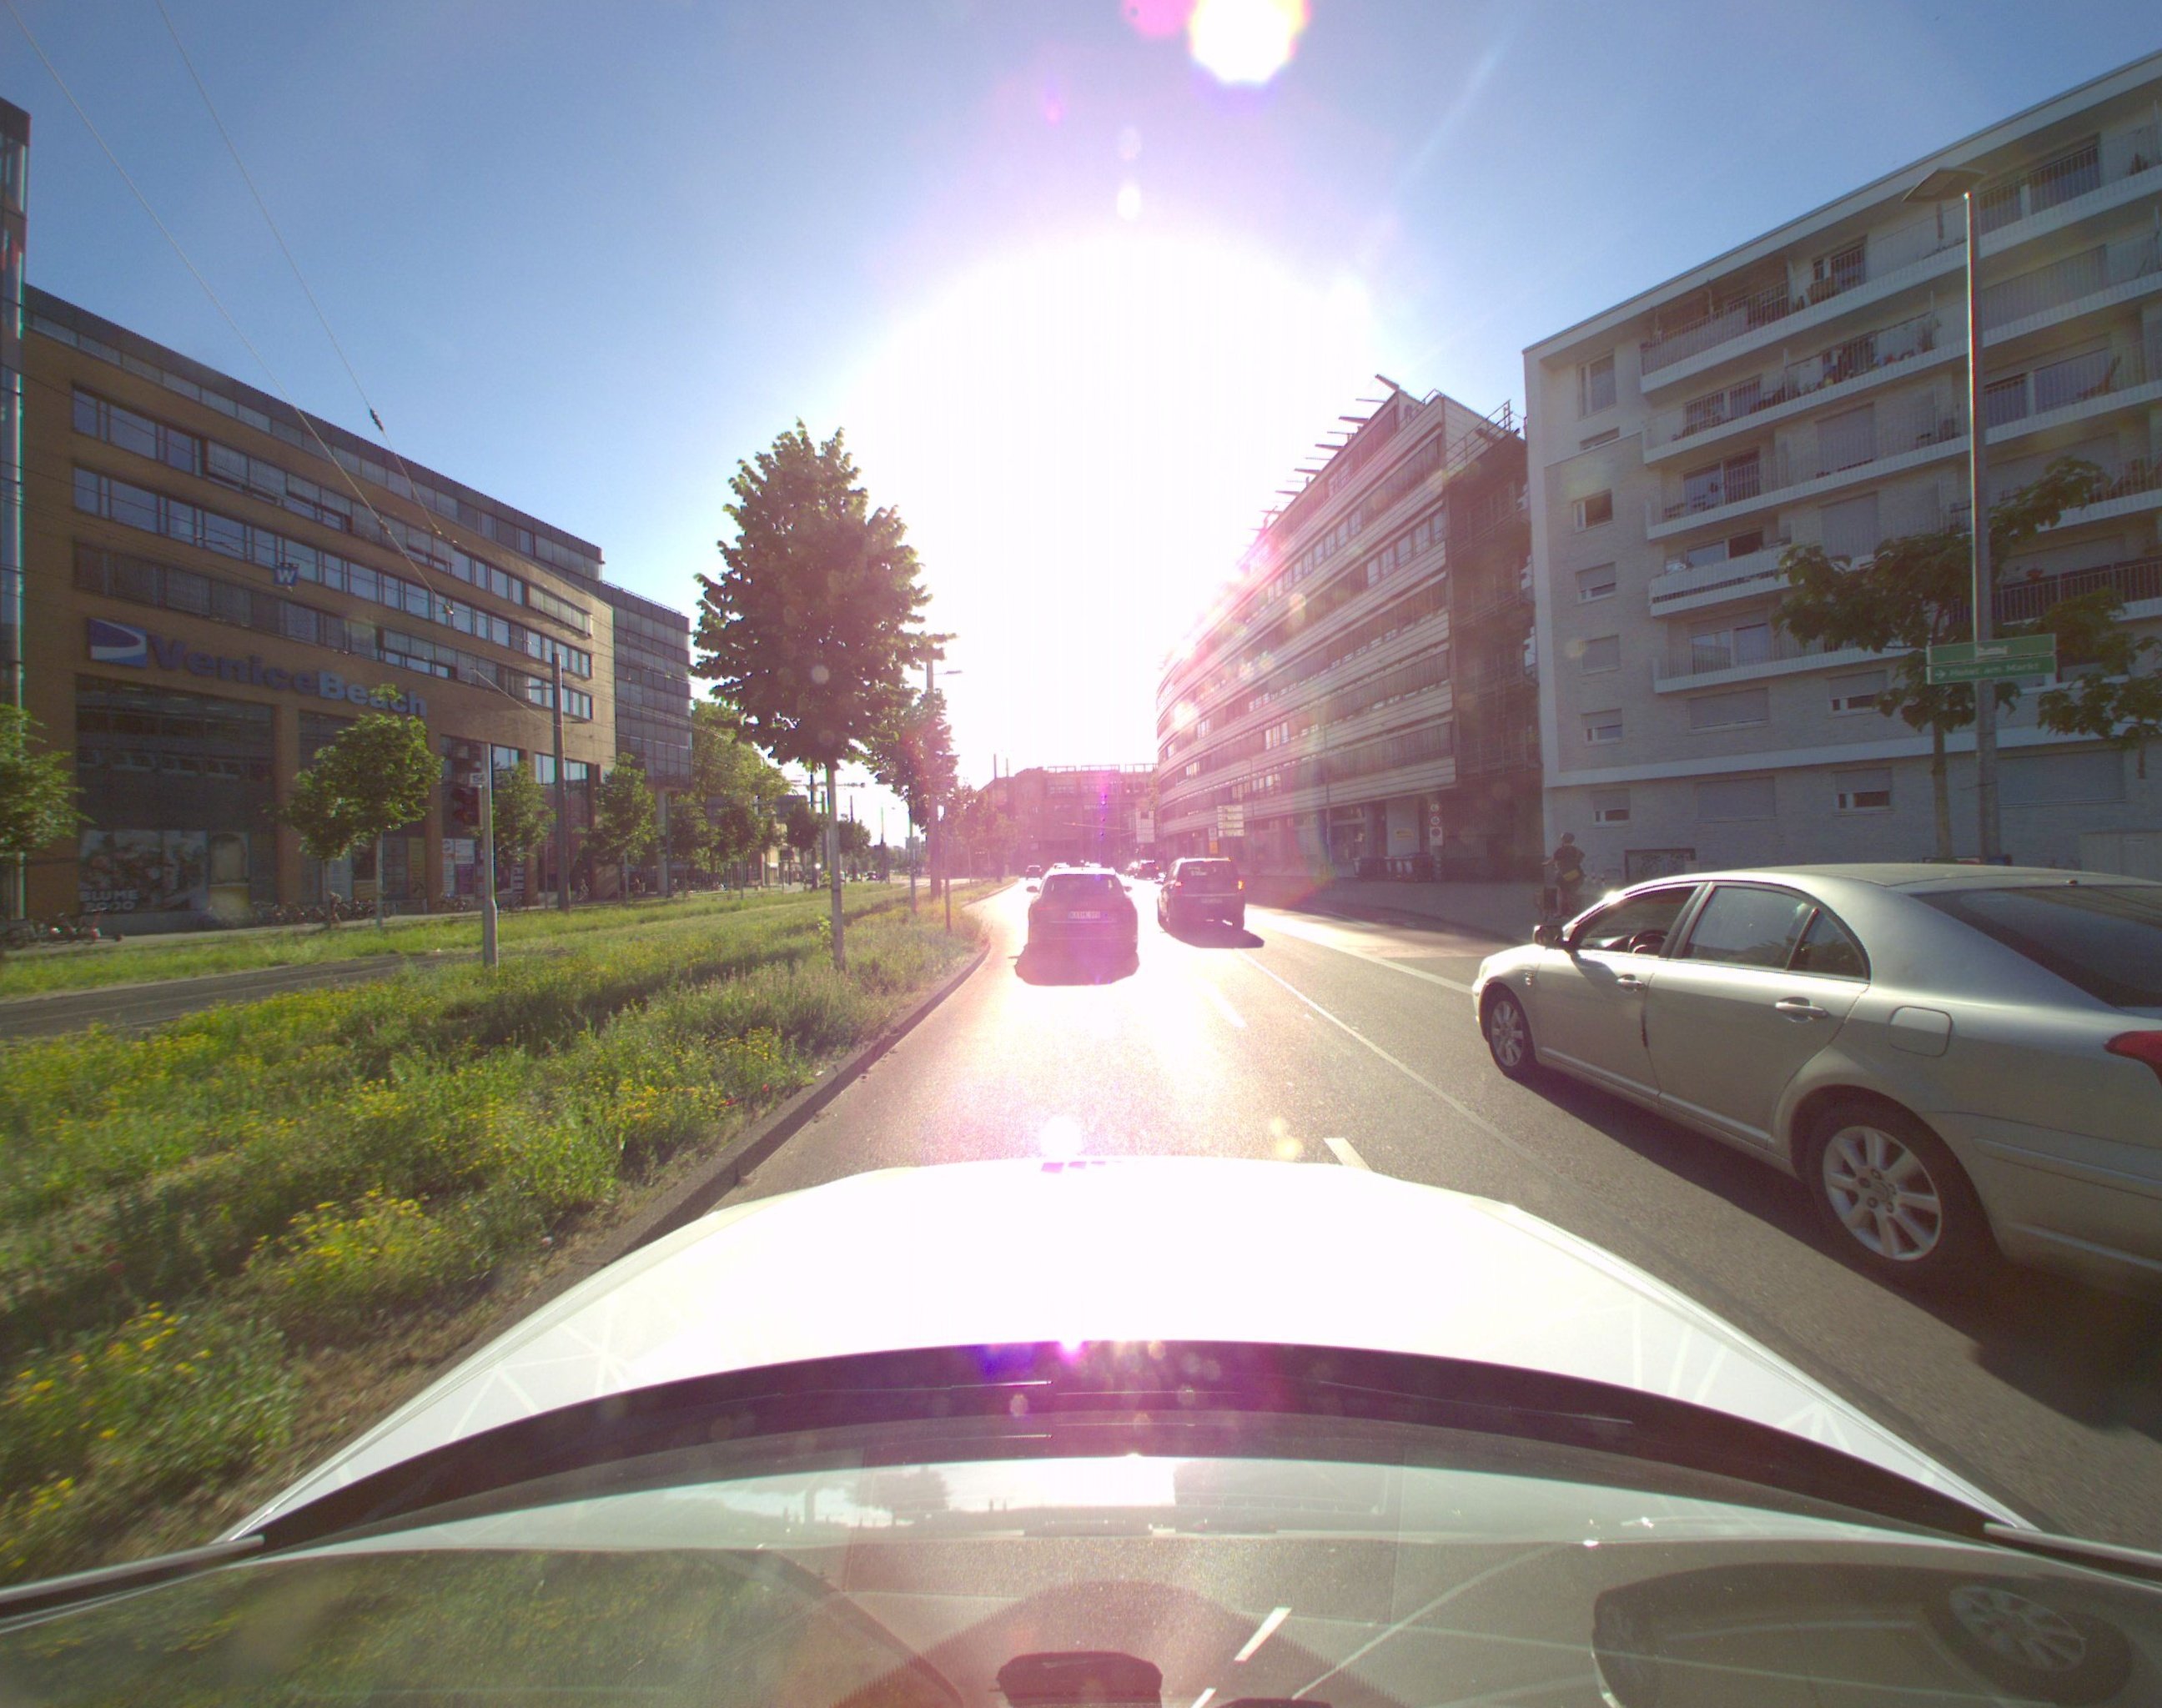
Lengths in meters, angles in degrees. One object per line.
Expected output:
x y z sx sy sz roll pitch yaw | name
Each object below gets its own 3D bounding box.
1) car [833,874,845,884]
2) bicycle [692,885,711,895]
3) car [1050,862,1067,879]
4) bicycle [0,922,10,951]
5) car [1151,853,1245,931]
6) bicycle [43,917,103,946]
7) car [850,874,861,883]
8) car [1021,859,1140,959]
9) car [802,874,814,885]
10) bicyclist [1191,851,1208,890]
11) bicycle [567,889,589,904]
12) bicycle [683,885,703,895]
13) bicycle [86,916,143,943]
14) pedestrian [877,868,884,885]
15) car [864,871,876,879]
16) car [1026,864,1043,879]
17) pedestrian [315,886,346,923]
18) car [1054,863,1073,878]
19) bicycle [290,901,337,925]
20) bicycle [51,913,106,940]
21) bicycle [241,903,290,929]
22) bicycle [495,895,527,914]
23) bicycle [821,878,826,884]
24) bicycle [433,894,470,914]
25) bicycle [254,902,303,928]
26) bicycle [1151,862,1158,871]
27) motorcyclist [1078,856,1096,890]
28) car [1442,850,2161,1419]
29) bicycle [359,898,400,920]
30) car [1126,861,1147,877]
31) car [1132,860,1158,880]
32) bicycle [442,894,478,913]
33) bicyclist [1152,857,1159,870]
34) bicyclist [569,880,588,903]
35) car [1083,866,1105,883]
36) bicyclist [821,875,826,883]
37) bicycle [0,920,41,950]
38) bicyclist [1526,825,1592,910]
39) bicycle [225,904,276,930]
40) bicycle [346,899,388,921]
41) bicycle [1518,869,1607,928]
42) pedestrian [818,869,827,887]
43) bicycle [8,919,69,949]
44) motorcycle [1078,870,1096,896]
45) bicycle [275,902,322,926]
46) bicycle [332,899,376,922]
-45.883 4.703 154.506 1.998 1.596 4.711 -3 0 -17 | car
-40.422 3.801 86.840 1.777 0.951 0.536 -2 -1 -30 | bicycle
-2.404 1.746 85.651 1.733 1.651 3.996 -2 -1 -2 | car
-35.790 2.699 26.407 1.754 0.926 0.566 -2 -1 12 | bicycle
2.741 0.853 19.956 1.682 1.629 4.463 -2 -1 1 | car
-35.375 2.729 28.579 1.754 0.926 0.566 -2 -1 12 | bicycle
-42.753 4.666 154.496 1.751 1.505 3.853 -2 -1 -21 | car
0.064 0.888 14.888 1.804 1.492 4.497 -2 -1 2 | car
-50.477 4.729 150.714 1.998 2.014 3.977 -2 -1 -17 | car
5.595 0.776 38.370 0.576 1.791 0.862 -2 -1 -3 | bicyclist
-33.915 2.855 54.938 0.497 0.910 1.884 -2 0 -6 | bicycle
-40.680 3.725 85.395 1.771 0.951 0.538 -2 -1 -19 | bicycle
-35.185 2.744 29.655 1.754 0.926 0.566 -2 -1 12 | bicycle
-22.477 2.496 91.220 0.631 1.830 0.660 -2 -1 -10 | pedestrian
-39.836 3.964 153.900 1.751 1.505 3.853 -2 -1 -21 | car
-4.810 1.839 84.646 1.645 1.433 3.996 -2 -1 -2 | car
-35.007 2.354 37.989 0.742 1.669 0.676 -2 -1 2 | pedestrian
-1.707 1.540 78.551 1.733 1.349 3.996 -2 -1 -2 | car
-36.316 2.786 38.541 1.758 1.049 0.491 -2 -1 3 | bicycle
-38.230 2.756 31.053 1.754 0.926 0.566 -2 -1 12 | bicycle
-36.358 2.750 36.310 1.758 1.049 0.491 -2 -1 3 | bicycle
-29.653 2.625 42.393 0.462 0.868 1.769 -2 -1 -3 | bicycle
-46.600 4.879 147.278 0.651 1.085 2.911 -2 -1 -15 | bicycle
-36.013 2.850 46.623 1.758 1.049 0.491 -2 -1 3 | bicycle
-36.341 2.759 36.878 1.758 1.049 0.491 -2 -1 3 | bicycle
9.305 1.549 103.108 0.500 1.058 1.709 -5 -1 17 | bicycle
0.260 0.853 37.479 0.742 1.530 1.020 -2 -1 -1 | motorcyclist
3.700 0.739 4.210 1.744 1.431 4.490 -2 -1 2 | car
-36.168 2.841 41.990 1.758 1.049 0.491 -2 -1 3 | bicycle
5.883 1.579 86.422 1.987 1.651 4.000 -2 -1 1 | car
6.041 1.483 77.390 1.988 1.750 4.326 -2 -1 -1 | car
-36.029 2.860 47.255 1.758 1.049 0.491 -2 -1 3 | bicycle
9.514 1.210 103.442 0.679 1.618 0.995 -2 -1 15 | bicyclist
-33.933 2.535 54.989 0.677 1.465 1.014 -1 -1 -6 | bicyclist
1.199 1.879 75.296 1.803 1.457 3.996 -1 -1 -3 | car
-46.522 4.566 147.015 0.759 1.375 0.946 -2 -1 -16 | bicyclist
-35.658 2.709 27.093 1.754 0.926 0.566 -2 -1 12 | bicycle
9.209 0.251 15.720 0.622 1.566 1.044 -2 -1 2 | bicyclist
-36.418 2.741 35.714 1.758 1.049 0.491 -2 -1 3 | bicycle
-36.157 2.829 41.253 1.758 1.049 0.491 -2 -1 3 | bicycle
9.277 0.819 15.786 0.496 1.032 2.208 -2 -1 4 | bicycle
-29.337 2.710 92.332 0.730 2.014 0.838 -1 -1 1 | pedestrian
-35.524 2.718 27.752 1.754 0.926 0.566 -2 -1 12 | bicycle
0.271 1.329 37.758 0.773 1.115 1.968 -2 -1 -1 | motorcycle
-36.358 2.776 37.839 1.758 1.049 0.491 -2 -1 3 | bicycle
-36.208 2.818 40.557 1.758 1.049 0.491 -2 -1 3 | bicycle
